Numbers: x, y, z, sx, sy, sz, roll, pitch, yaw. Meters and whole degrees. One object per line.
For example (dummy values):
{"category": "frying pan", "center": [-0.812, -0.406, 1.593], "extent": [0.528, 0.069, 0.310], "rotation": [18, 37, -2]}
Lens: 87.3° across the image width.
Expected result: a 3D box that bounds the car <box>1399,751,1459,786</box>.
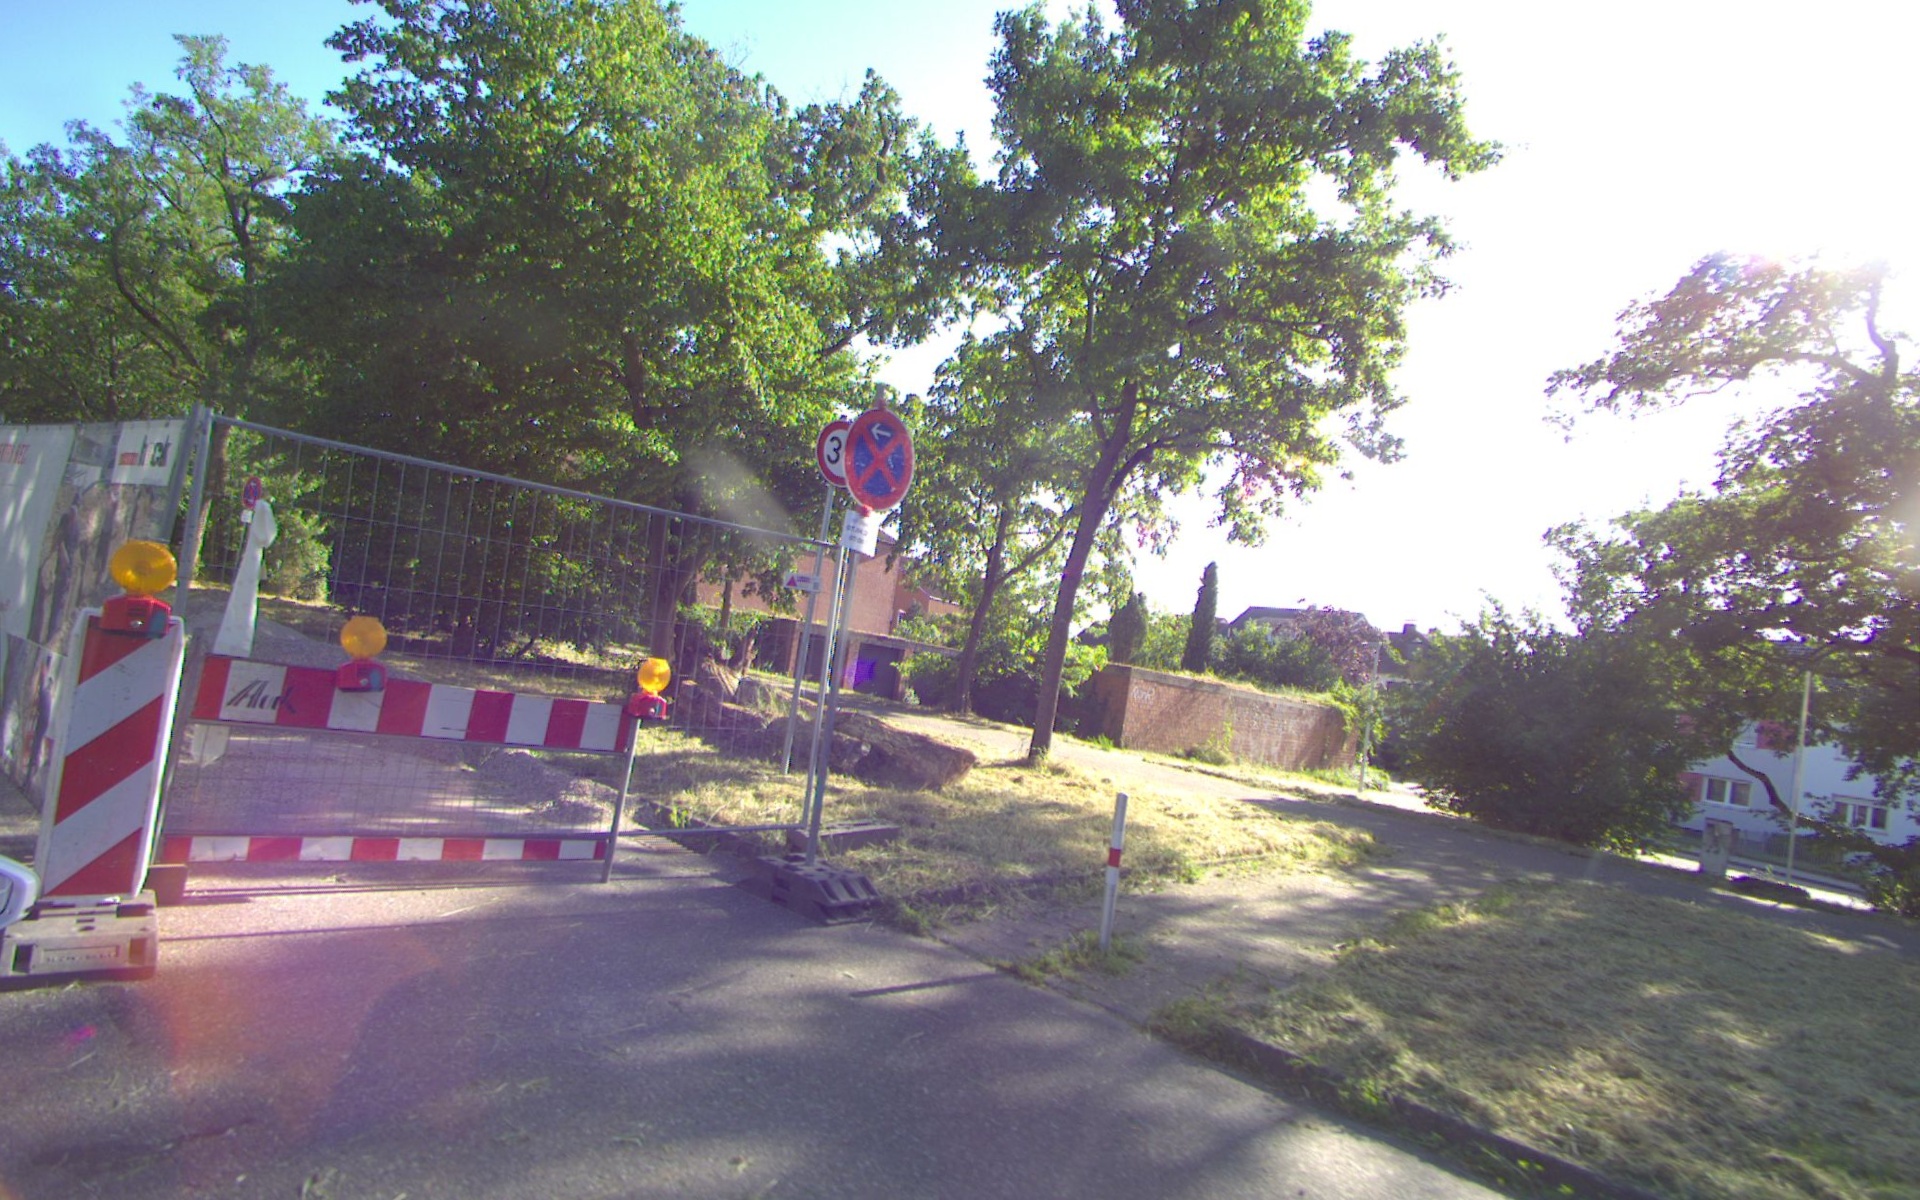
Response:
{"category": "car", "center": [28.217, 10.120, 60.472], "extent": [3.609, 1.514, 1.439], "rotation": [12, -4, -33]}
